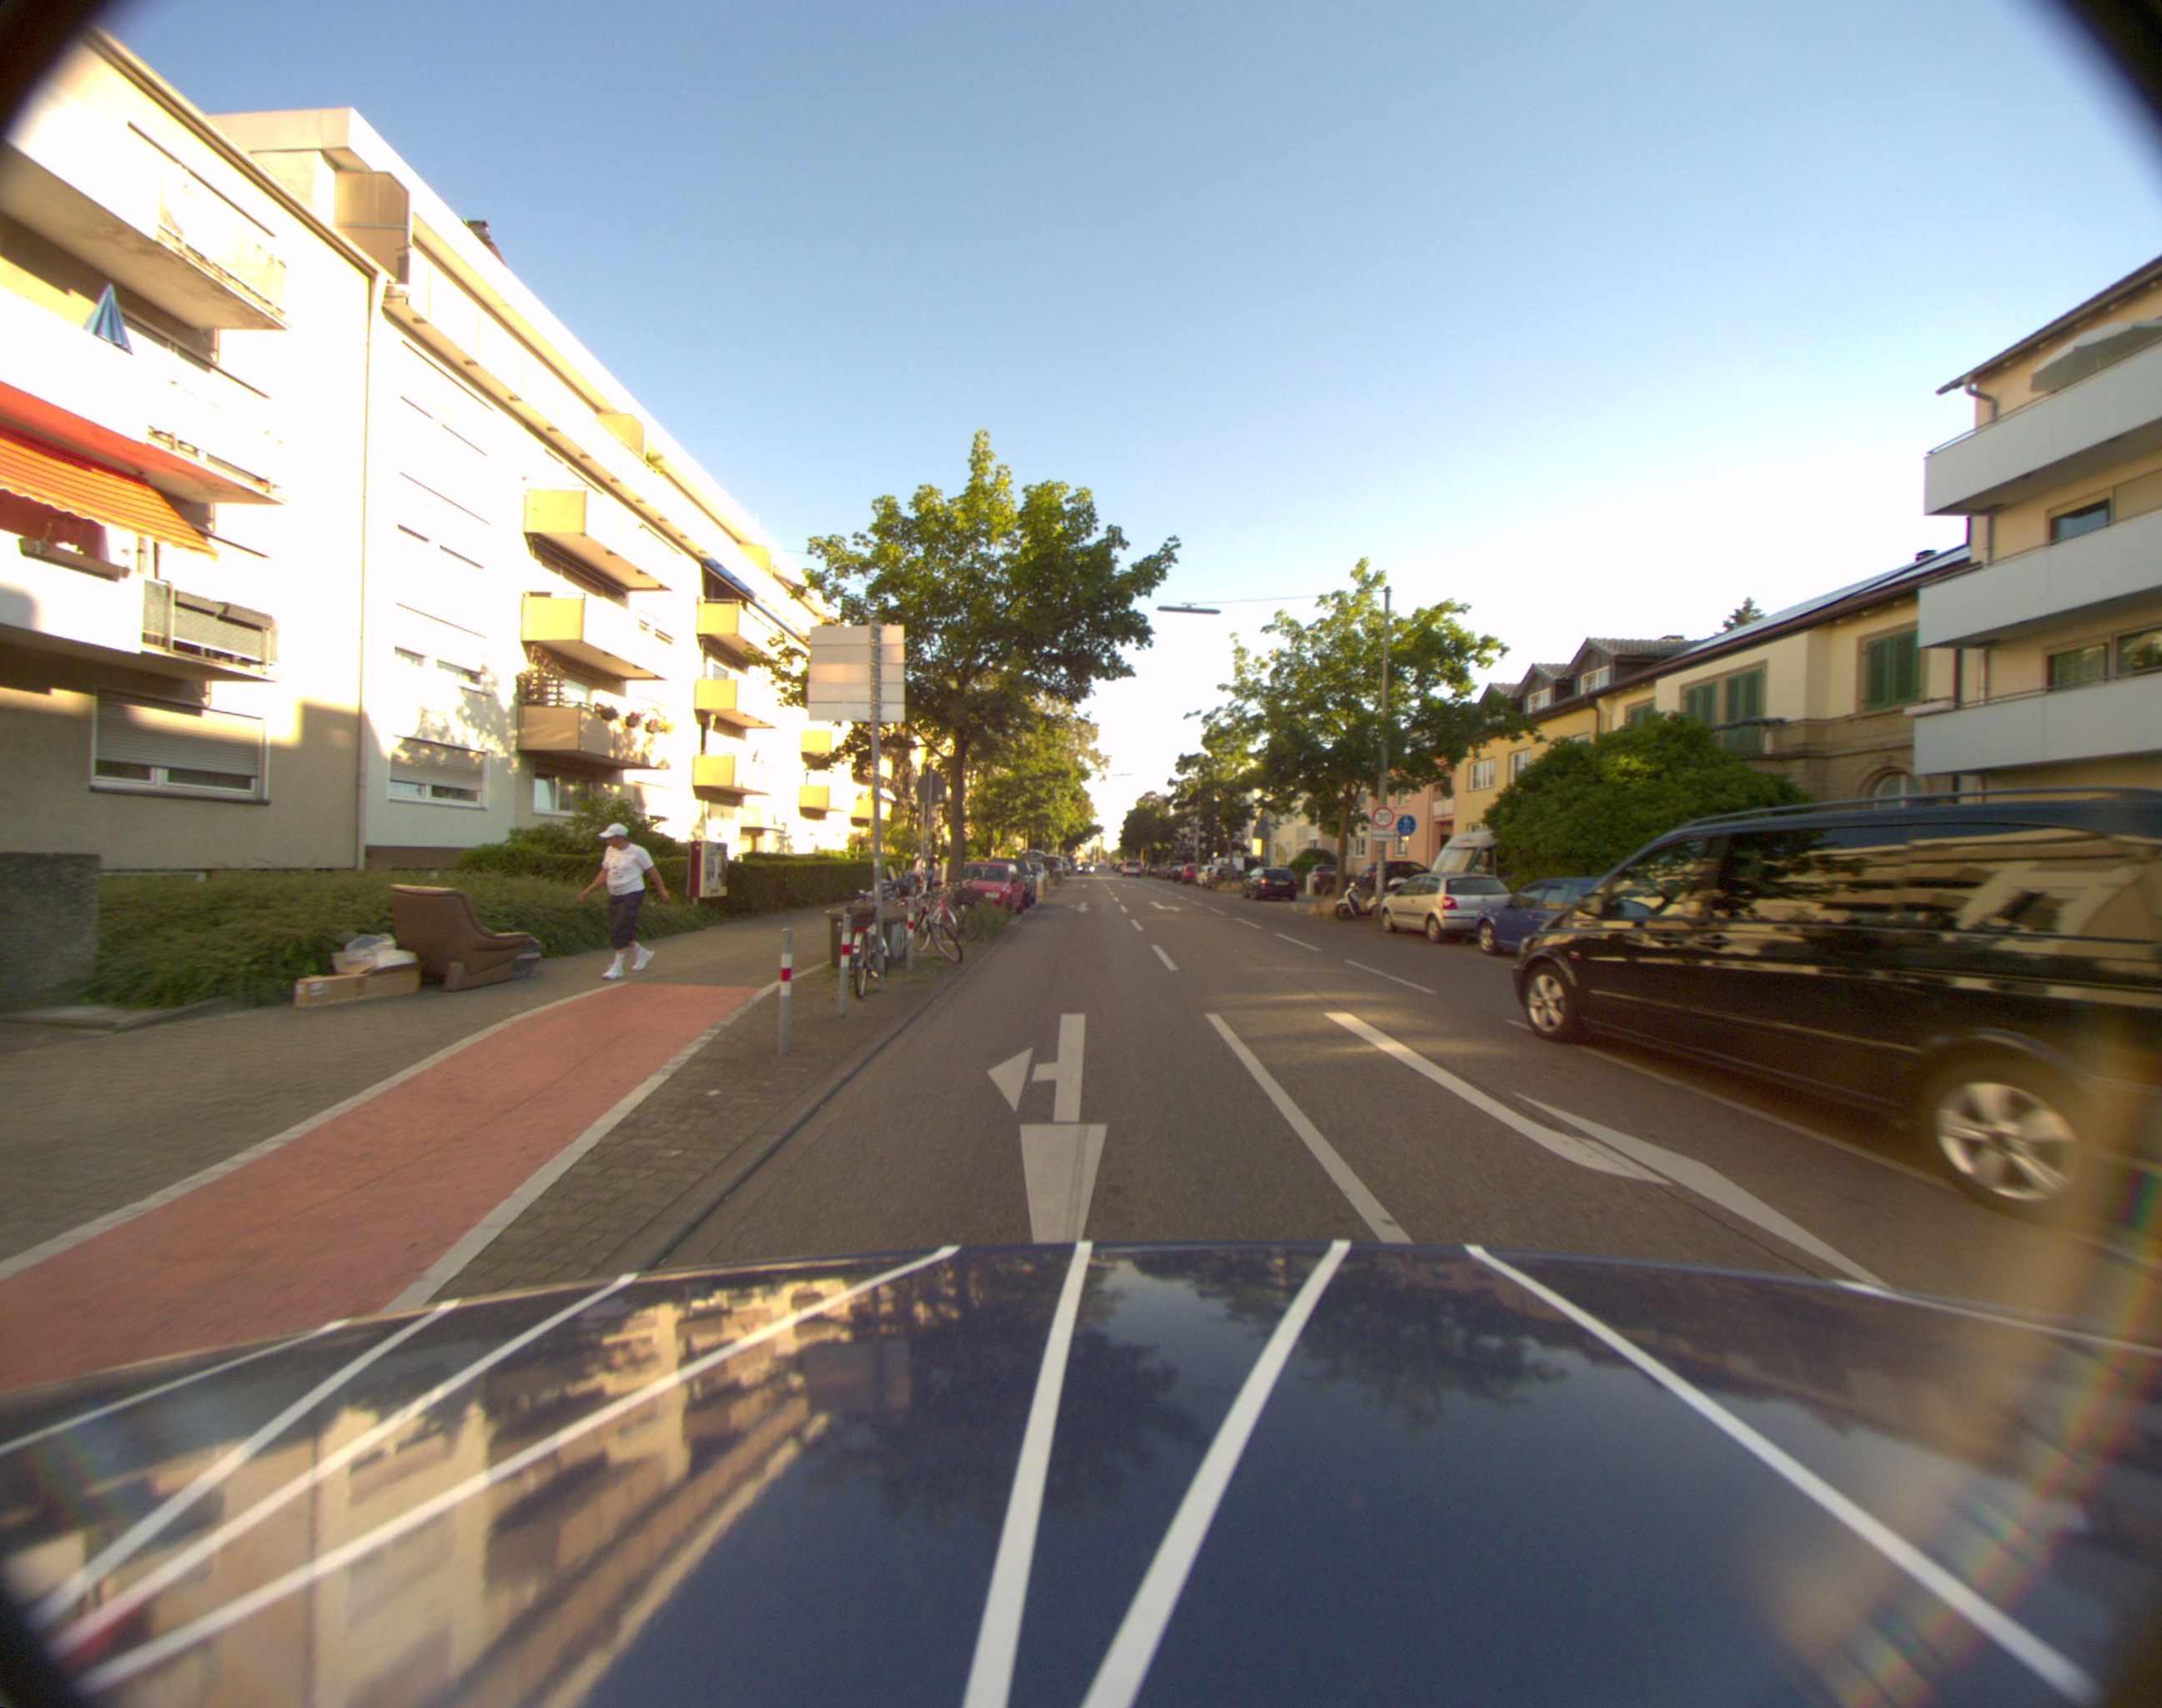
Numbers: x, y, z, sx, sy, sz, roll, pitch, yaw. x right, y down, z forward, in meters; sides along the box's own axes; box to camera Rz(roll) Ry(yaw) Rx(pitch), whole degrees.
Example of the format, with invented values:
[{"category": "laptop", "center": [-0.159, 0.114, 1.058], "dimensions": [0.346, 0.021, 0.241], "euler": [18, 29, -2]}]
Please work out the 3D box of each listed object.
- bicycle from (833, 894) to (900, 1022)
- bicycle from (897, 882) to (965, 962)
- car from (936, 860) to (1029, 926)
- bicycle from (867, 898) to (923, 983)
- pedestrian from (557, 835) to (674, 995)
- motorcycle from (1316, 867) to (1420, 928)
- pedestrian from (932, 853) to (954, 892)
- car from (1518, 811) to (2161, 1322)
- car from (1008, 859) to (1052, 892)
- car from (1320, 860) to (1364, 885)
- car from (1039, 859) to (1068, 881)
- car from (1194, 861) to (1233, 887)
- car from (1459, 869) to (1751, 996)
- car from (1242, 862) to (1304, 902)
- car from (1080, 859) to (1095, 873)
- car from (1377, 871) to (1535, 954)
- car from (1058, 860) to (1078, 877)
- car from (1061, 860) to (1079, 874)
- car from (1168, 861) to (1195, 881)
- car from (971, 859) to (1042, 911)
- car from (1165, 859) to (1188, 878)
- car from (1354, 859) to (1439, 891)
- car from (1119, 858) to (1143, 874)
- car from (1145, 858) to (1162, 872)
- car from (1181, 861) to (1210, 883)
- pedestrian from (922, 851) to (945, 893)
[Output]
[{"category": "bicycle", "center": [-2.271, 1.047, 8.198], "dimensions": [0.325, 1.138, 1.800], "euler": [1, 0, -4]}, {"category": "bicycle", "center": [-2.397, 1.053, 12.337], "dimensions": [0.324, 1.138, 1.803], "euler": [1, 0, 14]}, {"category": "car", "center": [-2.460, 0.948, 19.906], "dimensions": [1.744, 1.508, 3.811], "euler": [1, 0, 3]}, {"category": "bicycle", "center": [-2.430, 1.110, 10.006], "dimensions": [0.325, 0.981, 1.191], "euler": [1, 0, 5]}, {"category": "pedestrian", "center": [-5.151, 0.649, 8.445], "dimensions": [0.830, 1.673, 0.660], "euler": [2, 0, 4]}, {"category": "motorcycle", "center": [7.962, 1.179, 21.304], "dimensions": [1.263, 1.526, 2.887], "euler": [1, 0, -14]}, {"category": "pedestrian", "center": [-6.042, 0.814, 33.259], "dimensions": [0.659, 1.673, 0.832], "euler": [2, 0, 6]}, {"category": "car", "center": [4.861, 0.800, 4.580], "dimensions": [1.842, 1.866, 4.409], "euler": [1, 0, -1]}, {"category": "car", "center": [-2.482, 1.018, 37.945], "dimensions": [1.744, 1.508, 3.811], "euler": [1, 0, 3]}, {"category": "car", "center": [17.646, 1.208, 51.563], "dimensions": [1.841, 1.604, 4.412], "euler": [1, 0, 5]}, {"category": "car", "center": [-1.975, 1.138, 54.765], "dimensions": [1.744, 1.508, 3.811], "euler": [1, 0, 3]}, {"category": "car", "center": [8.800, 1.304, 50.742], "dimensions": [1.842, 1.604, 4.410], "euler": [1, 0, 1]}, {"category": "car", "center": [8.025, 1.103, 12.175], "dimensions": [1.810, 1.604, 3.950], "euler": [1, 0, -2]}, {"category": "car", "center": [8.400, 1.178, 33.589], "dimensions": [1.734, 1.604, 4.197], "euler": [1, 0, 1]}, {"category": "car", "center": [0.787, 1.392, 90.041], "dimensions": [1.641, 1.481, 4.415], "euler": [2, 0, 0]}, {"category": "car", "center": [8.088, 1.196, 16.764], "dimensions": [1.755, 1.526, 3.572], "euler": [1, 0, 2]}, {"category": "car", "center": [-1.277, 1.427, 75.827], "dimensions": [1.744, 1.508, 3.811], "euler": [1, 0, 3]}, {"category": "car", "center": [-1.225, 1.409, 85.257], "dimensions": [1.694, 1.508, 3.661], "euler": [1, 0, 3]}, {"category": "car", "center": [8.220, 1.384, 62.490], "dimensions": [1.692, 1.554, 3.660], "euler": [1, 0, 1]}, {"category": "car", "center": [-2.328, 0.949, 24.755], "dimensions": [1.744, 1.508, 3.811], "euler": [1, 0, 3]}, {"category": "car", "center": [8.750, 1.306, 70.089], "dimensions": [1.692, 1.656, 3.660], "euler": [1, 0, 1]}, {"category": "car", "center": [16.820, 1.111, 40.434], "dimensions": [4.417, 1.604, 1.839], "euler": [1, 0, -30]}, {"category": "car", "center": [5.350, 1.253, 81.804], "dimensions": [1.843, 1.604, 4.407], "euler": [1, 0, -7]}, {"category": "car", "center": [8.456, 1.303, 88.654], "dimensions": [1.642, 1.554, 3.660], "euler": [1, 0, 1]}, {"category": "car", "center": [8.484, 1.322, 56.494], "dimensions": [1.642, 1.554, 3.660], "euler": [1, 0, 1]}, {"category": "pedestrian", "center": [-6.149, 0.748, 31.635], "dimensions": [0.659, 1.673, 0.832], "euler": [2, 0, 6]}]
